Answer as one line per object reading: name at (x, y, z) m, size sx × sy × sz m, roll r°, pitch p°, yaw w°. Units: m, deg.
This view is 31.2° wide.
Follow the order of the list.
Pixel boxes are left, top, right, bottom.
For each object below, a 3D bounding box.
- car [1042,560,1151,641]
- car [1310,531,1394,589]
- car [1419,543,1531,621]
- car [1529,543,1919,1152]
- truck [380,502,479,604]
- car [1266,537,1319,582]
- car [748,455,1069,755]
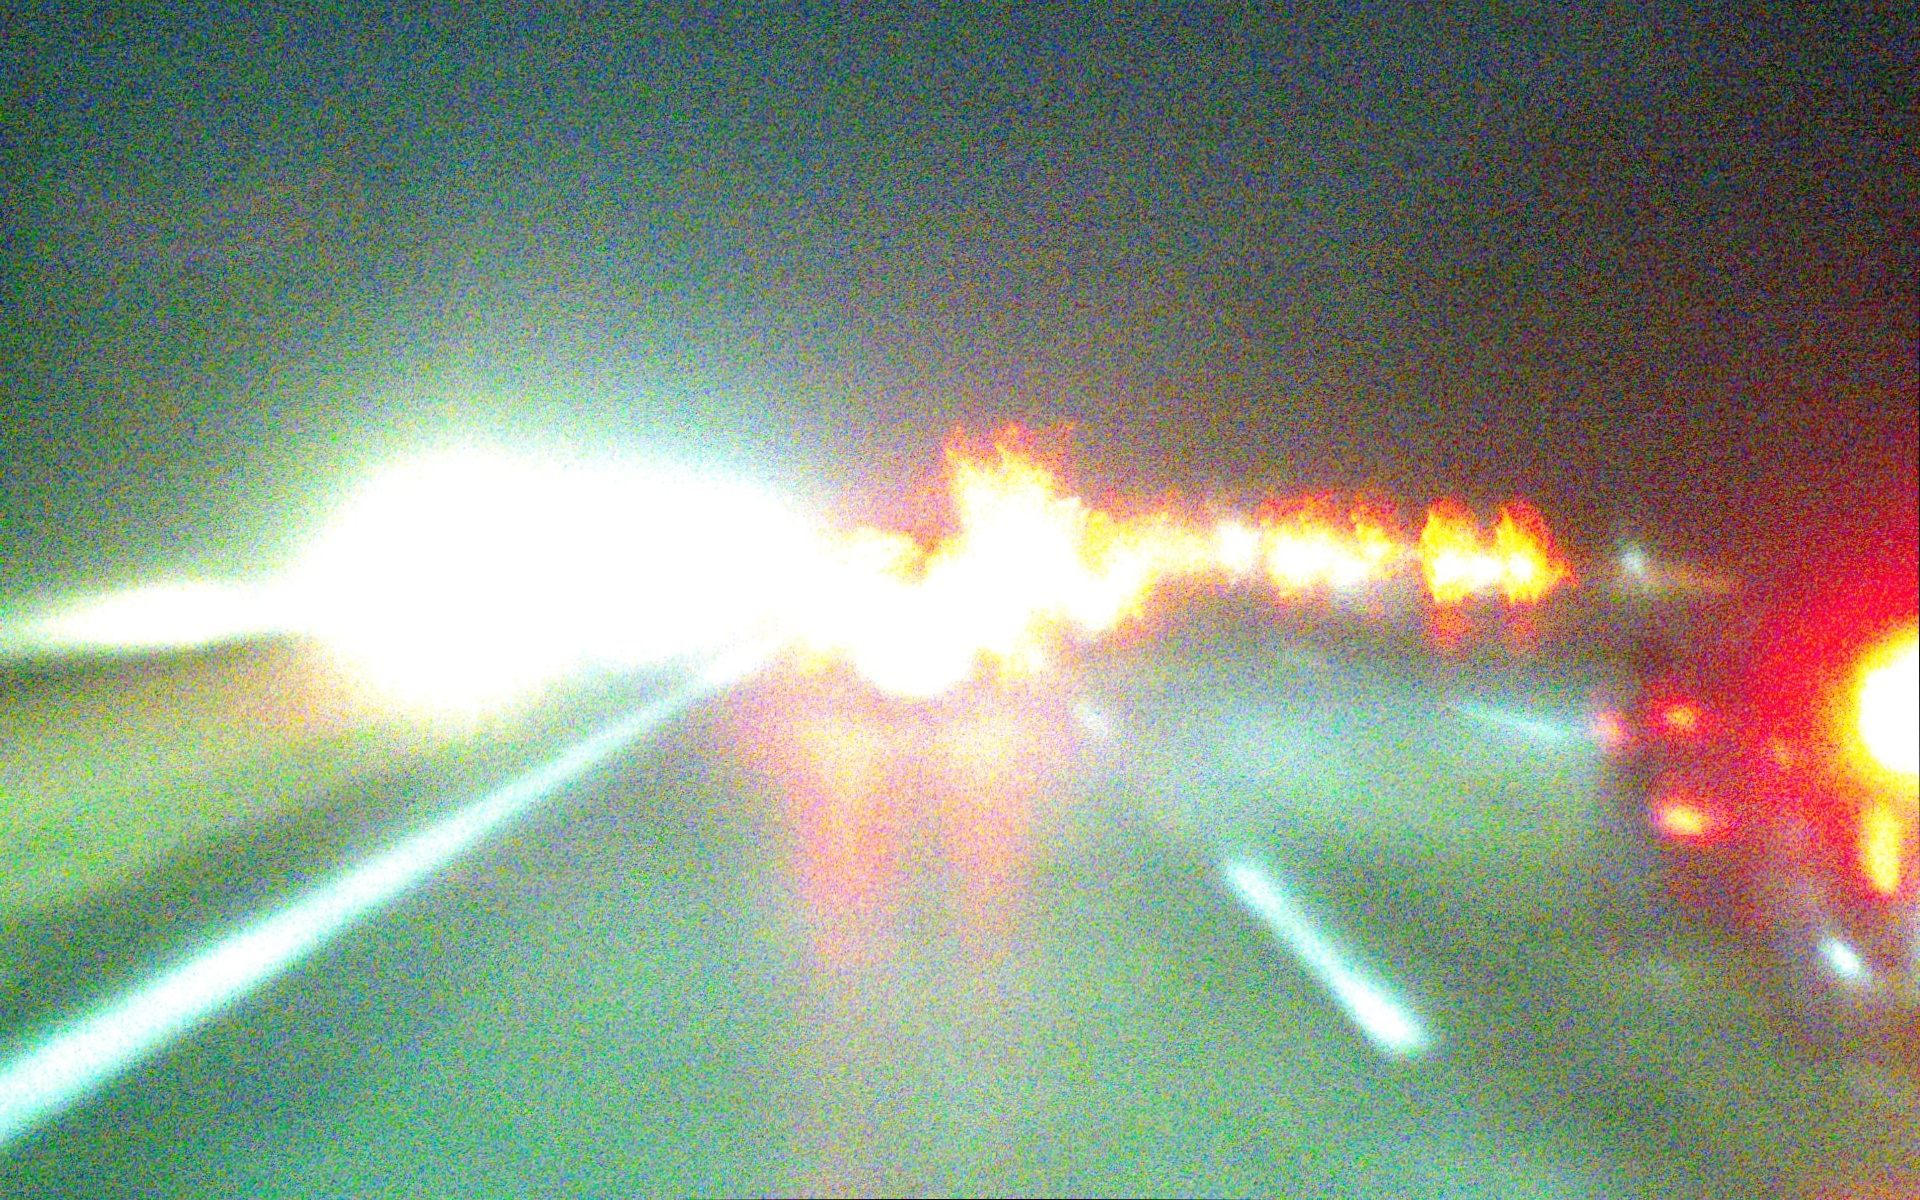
car at (2.837, -0.013, 72.306) m, size 2.137 × 1.612 × 4.000 m, roll 1°, pitch 1°, yaw 1°
car at (11.382, -1.166, 100.048) m, size 1.856 × 1.612 × 4.000 m, roll 1°, pitch 1°, yaw -1°
car at (11.266, -0.409, 75.363) m, size 1.856 × 1.612 × 4.000 m, roll 1°, pitch 1°, yaw 1°
car at (3.126, 0.627, 11.010) m, size 1.884 × 1.583 × 4.000 m, roll 1°, pitch 1°, yaw -1°
truck at (-18.992, -1.673, 123.272) m, size 2.640 × 3.567 × 6.176 m, roll 0°, pitch 1°, yaw 0°
car at (11.883, -1.453, 122.970) m, size 1.713 × 1.553 × 4.000 m, roll 1°, pitch 1°, yaw 4°
car at (-0.539, -0.031, 32.776) m, size 2.709 × 2.525 × 5.831 m, roll -2°, pitch 1°, yaw -2°
